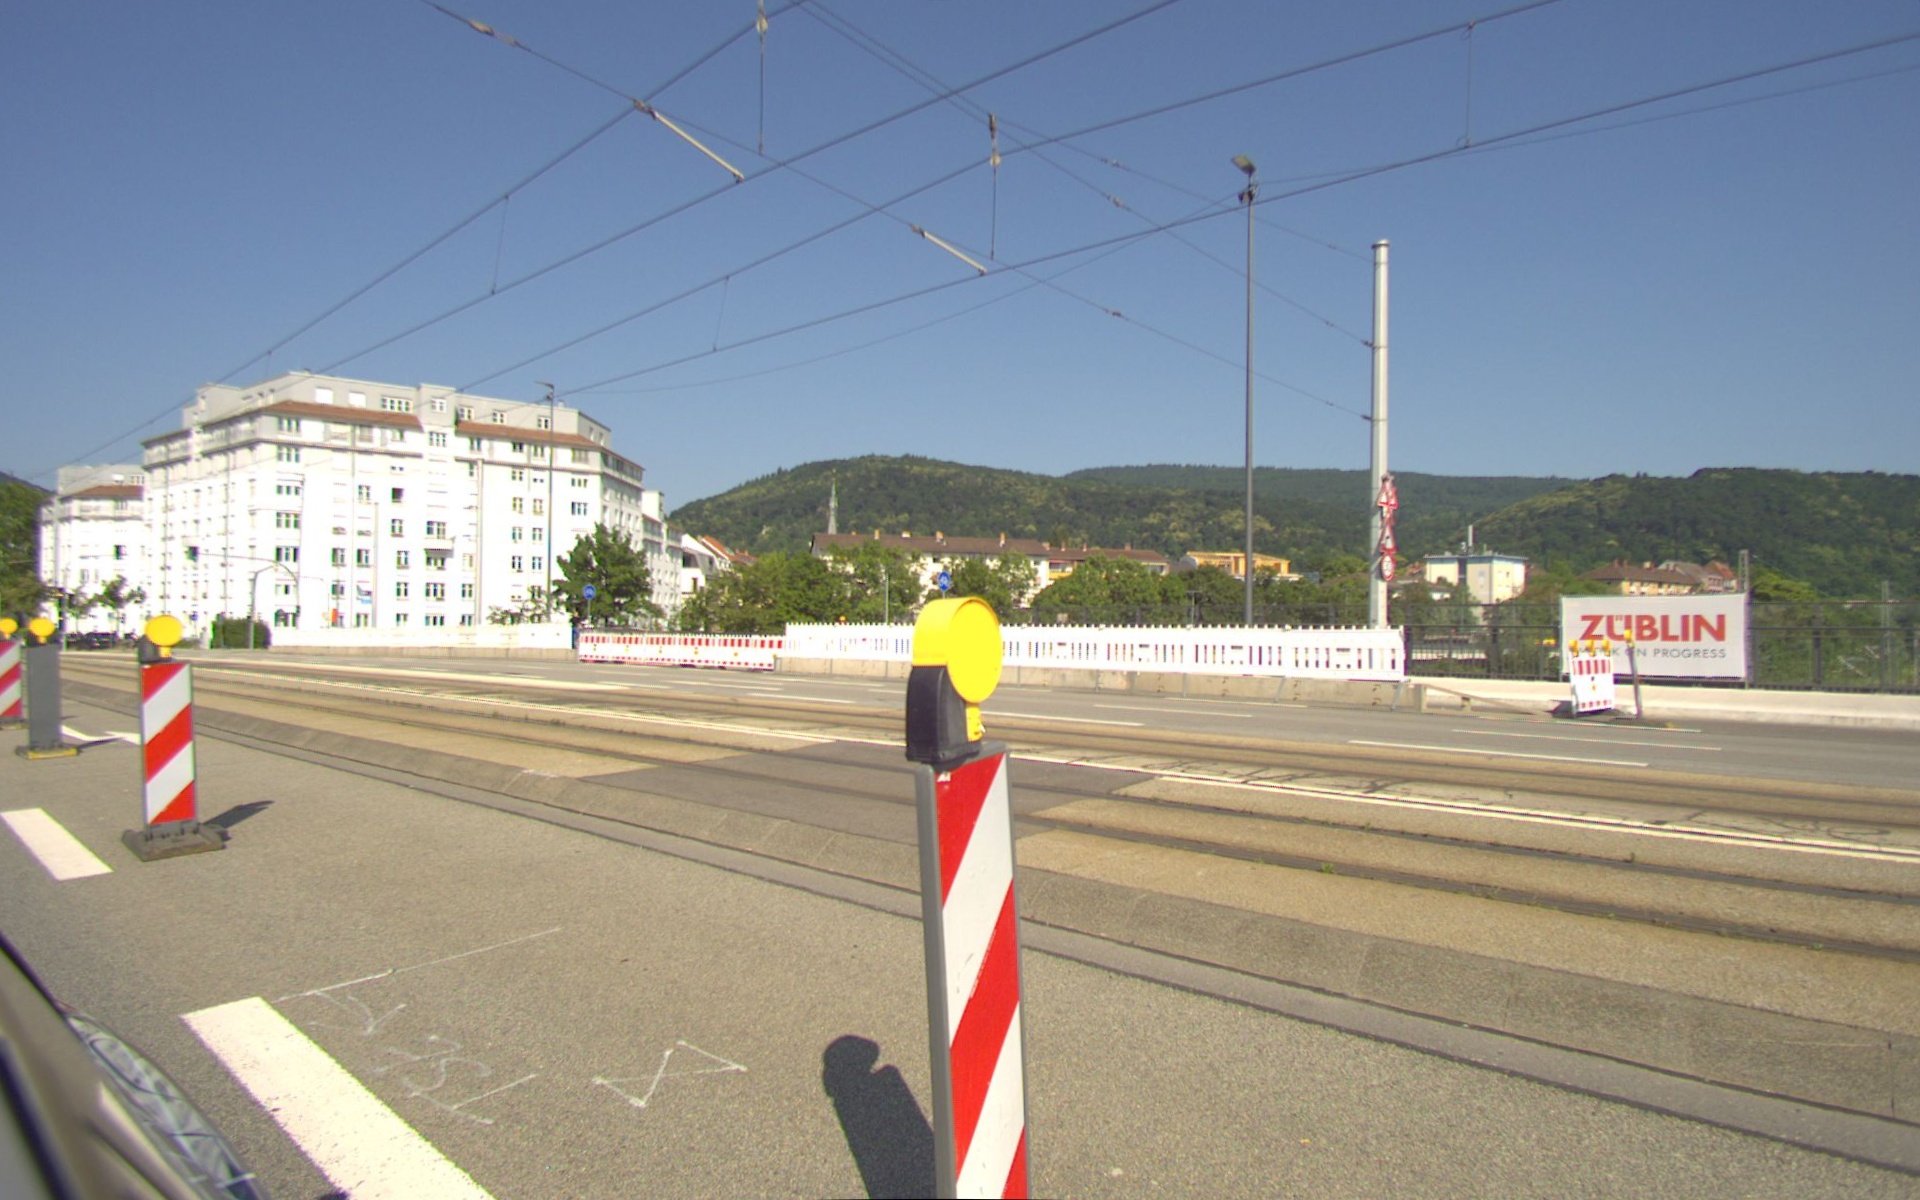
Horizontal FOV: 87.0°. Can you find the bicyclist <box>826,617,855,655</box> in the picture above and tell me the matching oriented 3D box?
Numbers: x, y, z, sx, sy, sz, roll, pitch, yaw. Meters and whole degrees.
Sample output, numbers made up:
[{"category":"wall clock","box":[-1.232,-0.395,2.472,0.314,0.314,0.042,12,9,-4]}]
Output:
[{"category":"bicyclist","box":[-4.968,1.495,42.077,0.817,1.530,0.847,-1,-1,41]}]
